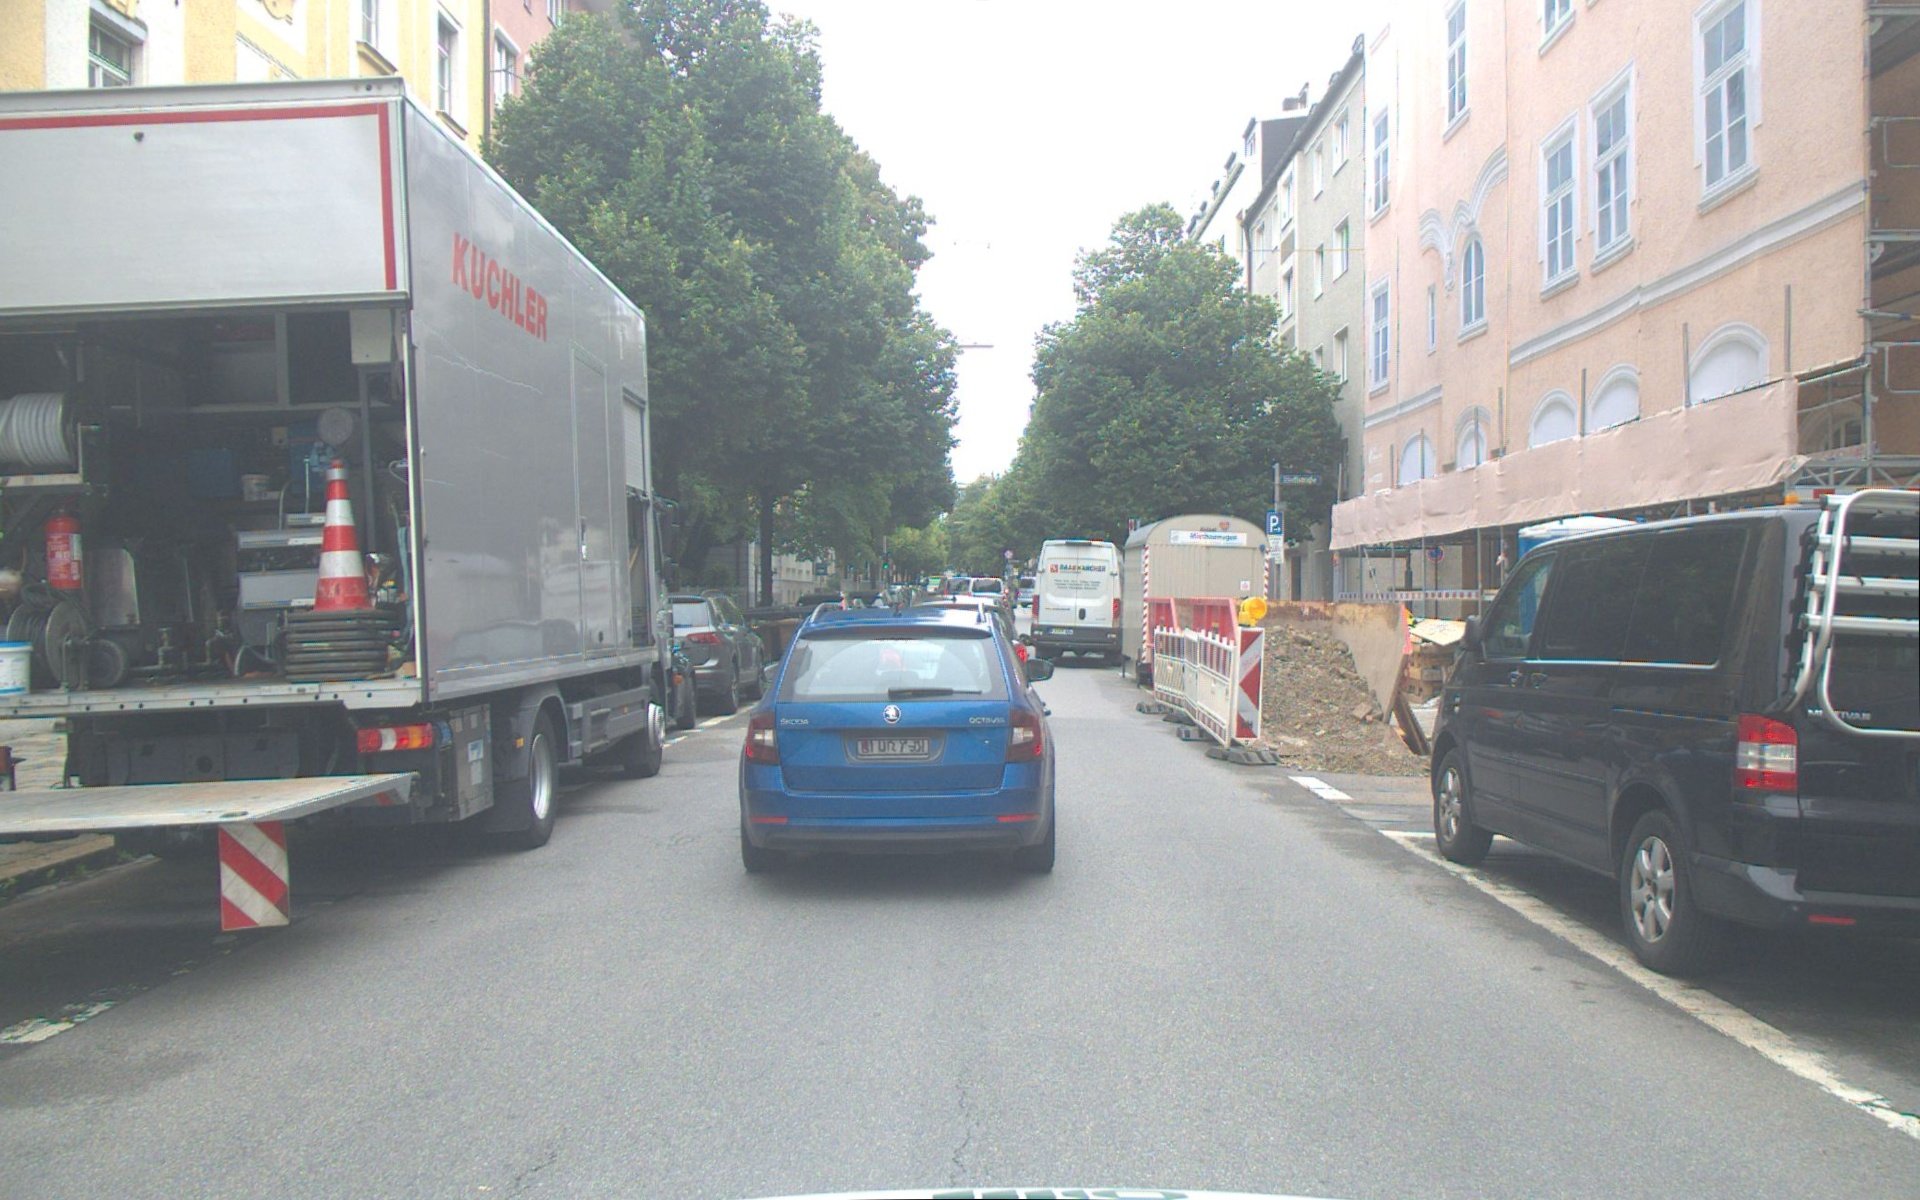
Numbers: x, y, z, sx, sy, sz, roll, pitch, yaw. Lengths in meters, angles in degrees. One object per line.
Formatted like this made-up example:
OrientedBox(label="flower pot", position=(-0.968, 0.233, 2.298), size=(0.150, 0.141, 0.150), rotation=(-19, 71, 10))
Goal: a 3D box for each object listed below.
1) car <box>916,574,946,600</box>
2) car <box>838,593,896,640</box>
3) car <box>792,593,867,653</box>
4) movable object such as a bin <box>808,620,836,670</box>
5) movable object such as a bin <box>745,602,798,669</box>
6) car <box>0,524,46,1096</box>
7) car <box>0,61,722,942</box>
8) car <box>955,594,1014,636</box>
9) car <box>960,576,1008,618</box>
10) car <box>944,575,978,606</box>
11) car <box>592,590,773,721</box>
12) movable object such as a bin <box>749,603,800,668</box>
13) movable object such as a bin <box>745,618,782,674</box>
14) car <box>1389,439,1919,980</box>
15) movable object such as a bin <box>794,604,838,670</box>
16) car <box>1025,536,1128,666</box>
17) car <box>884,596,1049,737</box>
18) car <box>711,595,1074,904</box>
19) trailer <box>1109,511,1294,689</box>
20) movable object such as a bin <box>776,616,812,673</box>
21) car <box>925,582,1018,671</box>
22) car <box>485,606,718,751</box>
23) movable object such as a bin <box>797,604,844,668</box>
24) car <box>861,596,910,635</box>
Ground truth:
OrientedBox(label="car", position=(-2.041, -0.918, 114.839), size=(1.968, 1.682, 4.345), rotation=(1, 1, -3))
OrientedBox(label="car", position=(-3.066, 0.522, 55.212), size=(1.775, 1.504, 3.999), rotation=(1, 0, -1))
OrientedBox(label="car", position=(-3.454, 0.579, 44.479), size=(1.775, 1.504, 3.999), rotation=(1, 0, -1))
OrientedBox(label="movable object such as a bin", position=(-2.981, 0.975, 35.804), size=(0.535, 1.038, 0.636), rotation=(-2, 0, -3))
OrientedBox(label="movable object such as a bin", position=(-4.155, 0.770, 36.576), size=(1.060, 1.400, 1.083), rotation=(-2, 0, -4))
OrientedBox(label="car", position=(-3.973, 0.693, 3.333), size=(1.726, 1.810, 4.327), rotation=(-2, 0, 1))
OrientedBox(label="car", position=(-3.714, -0.431, 11.682), size=(2.755, 3.884, 8.723), rotation=(0, 0, 0))
OrientedBox(label="car", position=(0.829, 0.507, 58.386), size=(1.830, 1.371, 4.345), rotation=(1, 1, -3))
OrientedBox(label="car", position=(1.111, -0.164, 78.808), size=(1.831, 1.902, 4.343), rotation=(1, 1, -5))
OrientedBox(label="car", position=(0.056, -0.530, 92.860), size=(1.829, 1.682, 4.347), rotation=(1, 1, 0))
OrientedBox(label="car", position=(-3.804, 0.704, 23.347), size=(1.748, 1.657, 4.186), rotation=(-1, 0, 1))
OrientedBox(label="movable object such as a bin", position=(-4.217, 0.791, 37.676), size=(1.036, 1.400, 1.095), rotation=(-2, 0, -4))
OrientedBox(label="movable object such as a bin", position=(-4.242, 0.981, 35.688), size=(0.706, 1.158, 0.658), rotation=(-2, 0, -3))
OrientedBox(label="car", position=(3.857, 0.511, 8.589), size=(2.039, 1.955, 5.140), rotation=(1, -2, 1))
OrientedBox(label="movable object such as a bin", position=(-3.179, 0.800, 36.659), size=(0.900, 1.400, 1.079), rotation=(-2, 0, -4))
OrientedBox(label="car", position=(2.745, 0.043, 37.855), size=(2.068, 2.710, 5.503), rotation=(1, 0, 6))
OrientedBox(label="car", position=(0.161, 0.702, 19.169), size=(1.705, 1.446, 3.665), rotation=(1, 0, 3))
OrientedBox(label="car", position=(-0.291, 0.729, 10.201), size=(1.752, 1.486, 4.315), rotation=(0, 0, 1))
OrientedBox(label="trailer", position=(4.298, 0.027, 30.758), size=(2.451, 2.889, 6.901), rotation=(1, 0, 0))
OrientedBox(label="movable object such as a bin", position=(-3.588, 0.956, 35.743), size=(0.697, 1.168, 0.636), rotation=(-2, 0, -3))
OrientedBox(label="car", position=(0.232, 0.505, 35.193), size=(1.829, 1.726, 4.347), rotation=(1, 1, 0))
OrientedBox(label="car", position=(-3.887, 0.799, 18.539), size=(1.664, 1.434, 3.709), rotation=(-1, 0, 2))
OrientedBox(label="movable object such as a bin", position=(-3.182, 0.812, 37.757), size=(1.000, 1.400, 1.103), rotation=(-2, 0, -4))
OrientedBox(label="car", position=(-3.010, 0.592, 67.254), size=(1.775, 1.504, 4.000), rotation=(1, 0, 0))
